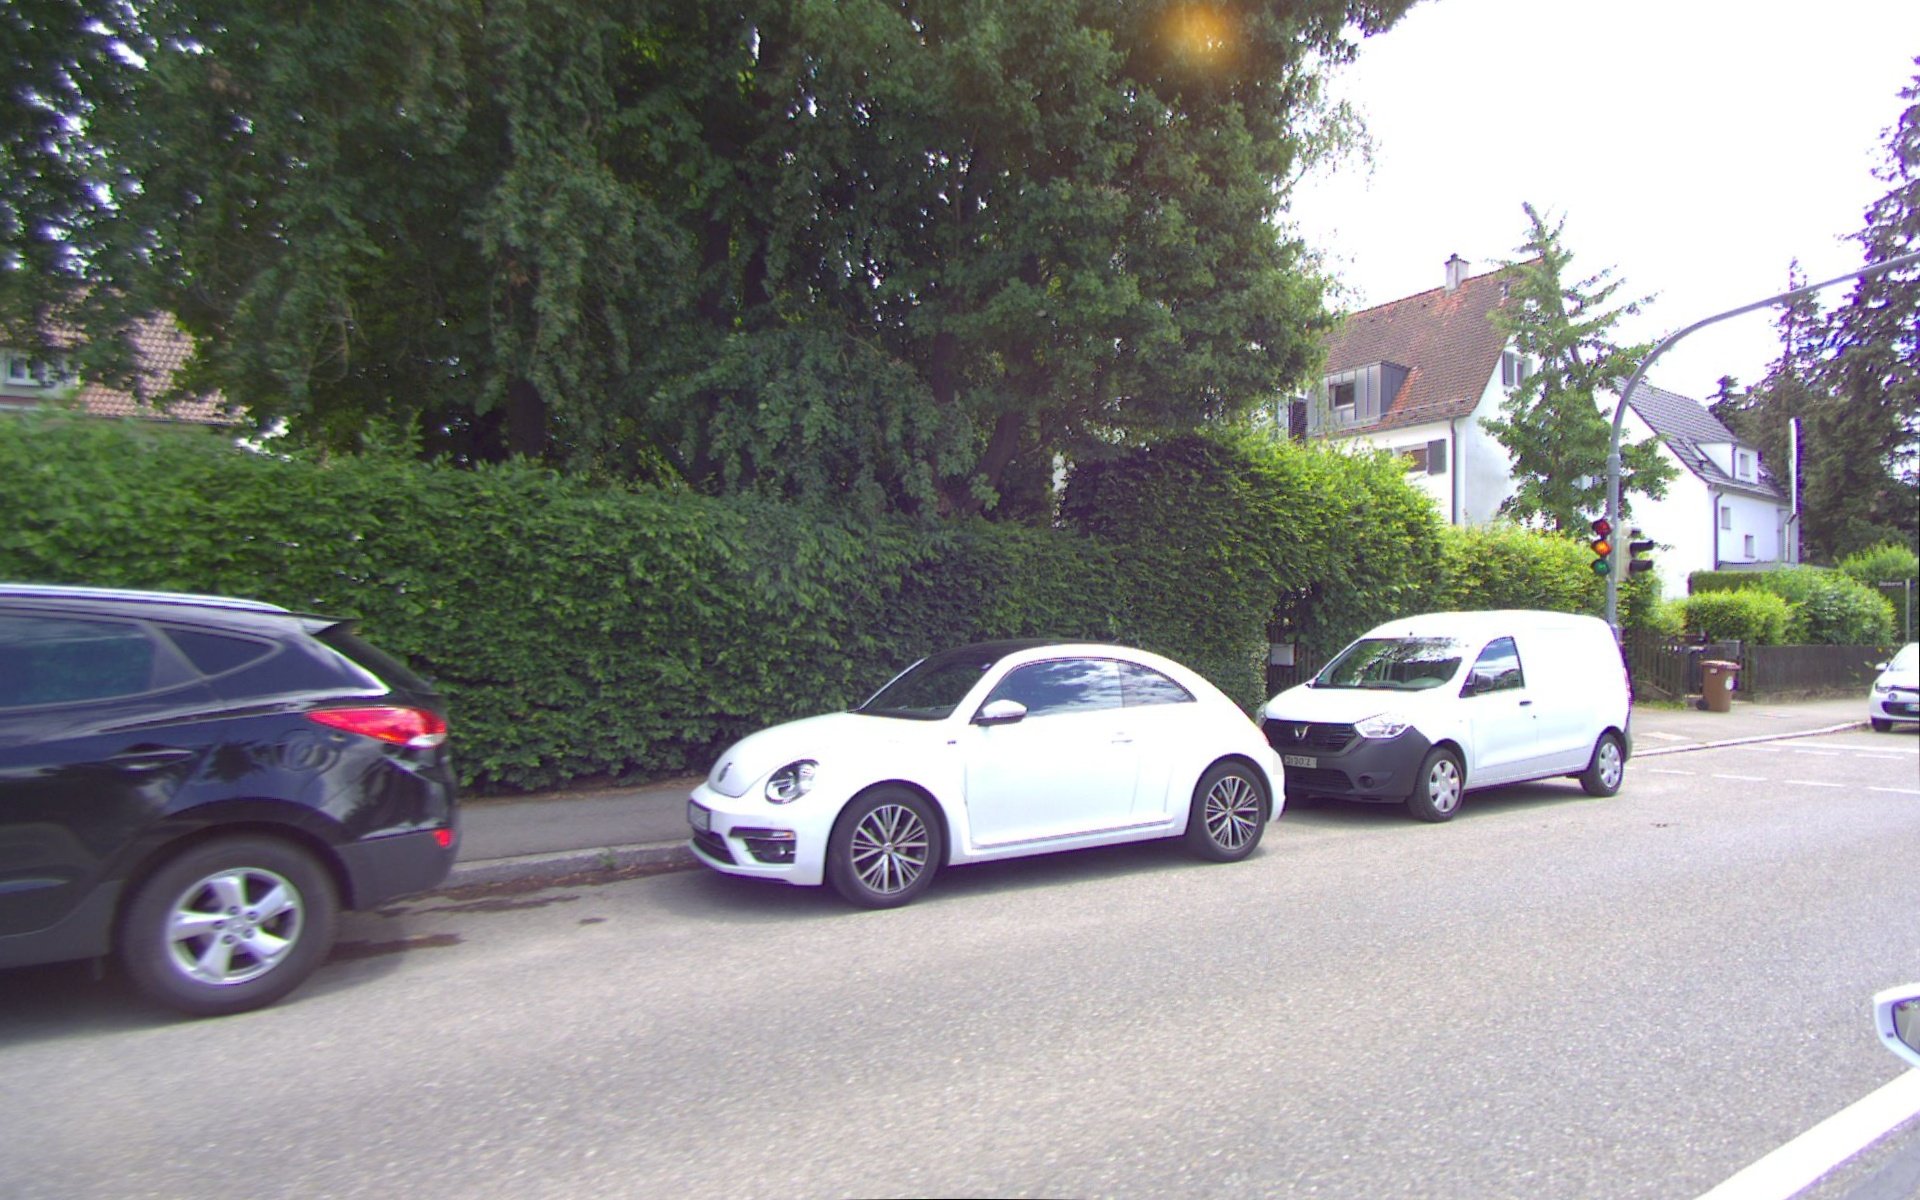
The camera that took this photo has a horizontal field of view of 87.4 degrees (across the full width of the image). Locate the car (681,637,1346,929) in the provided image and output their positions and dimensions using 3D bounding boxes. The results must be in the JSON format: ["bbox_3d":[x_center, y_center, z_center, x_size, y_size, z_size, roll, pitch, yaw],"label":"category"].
[{"bbox_3d":[0.444,1.023,6.887,4.302,1.472,1.698,1,-4,-28],"label":"car"}]

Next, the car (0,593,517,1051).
[{"bbox_3d":[-4.402,0.785,4.013,4.593,1.614,1.885,1,-1,-33],"label":"car"}]

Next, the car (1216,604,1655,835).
[{"bbox_3d":[4.711,1.005,9.725,4.557,1.781,1.668,1,-3,-33],"label":"car"}]

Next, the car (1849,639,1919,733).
[{"bbox_3d":[17.503,1.473,17.680,3.699,1.563,1.695,1,-3,-31],"label":"car"}]

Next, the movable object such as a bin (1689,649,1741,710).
[{"bbox_3d":[14.403,1.507,19.157,0.740,1.095,0.513,1,2,-31],"label":"movable object such as a bin"}]
